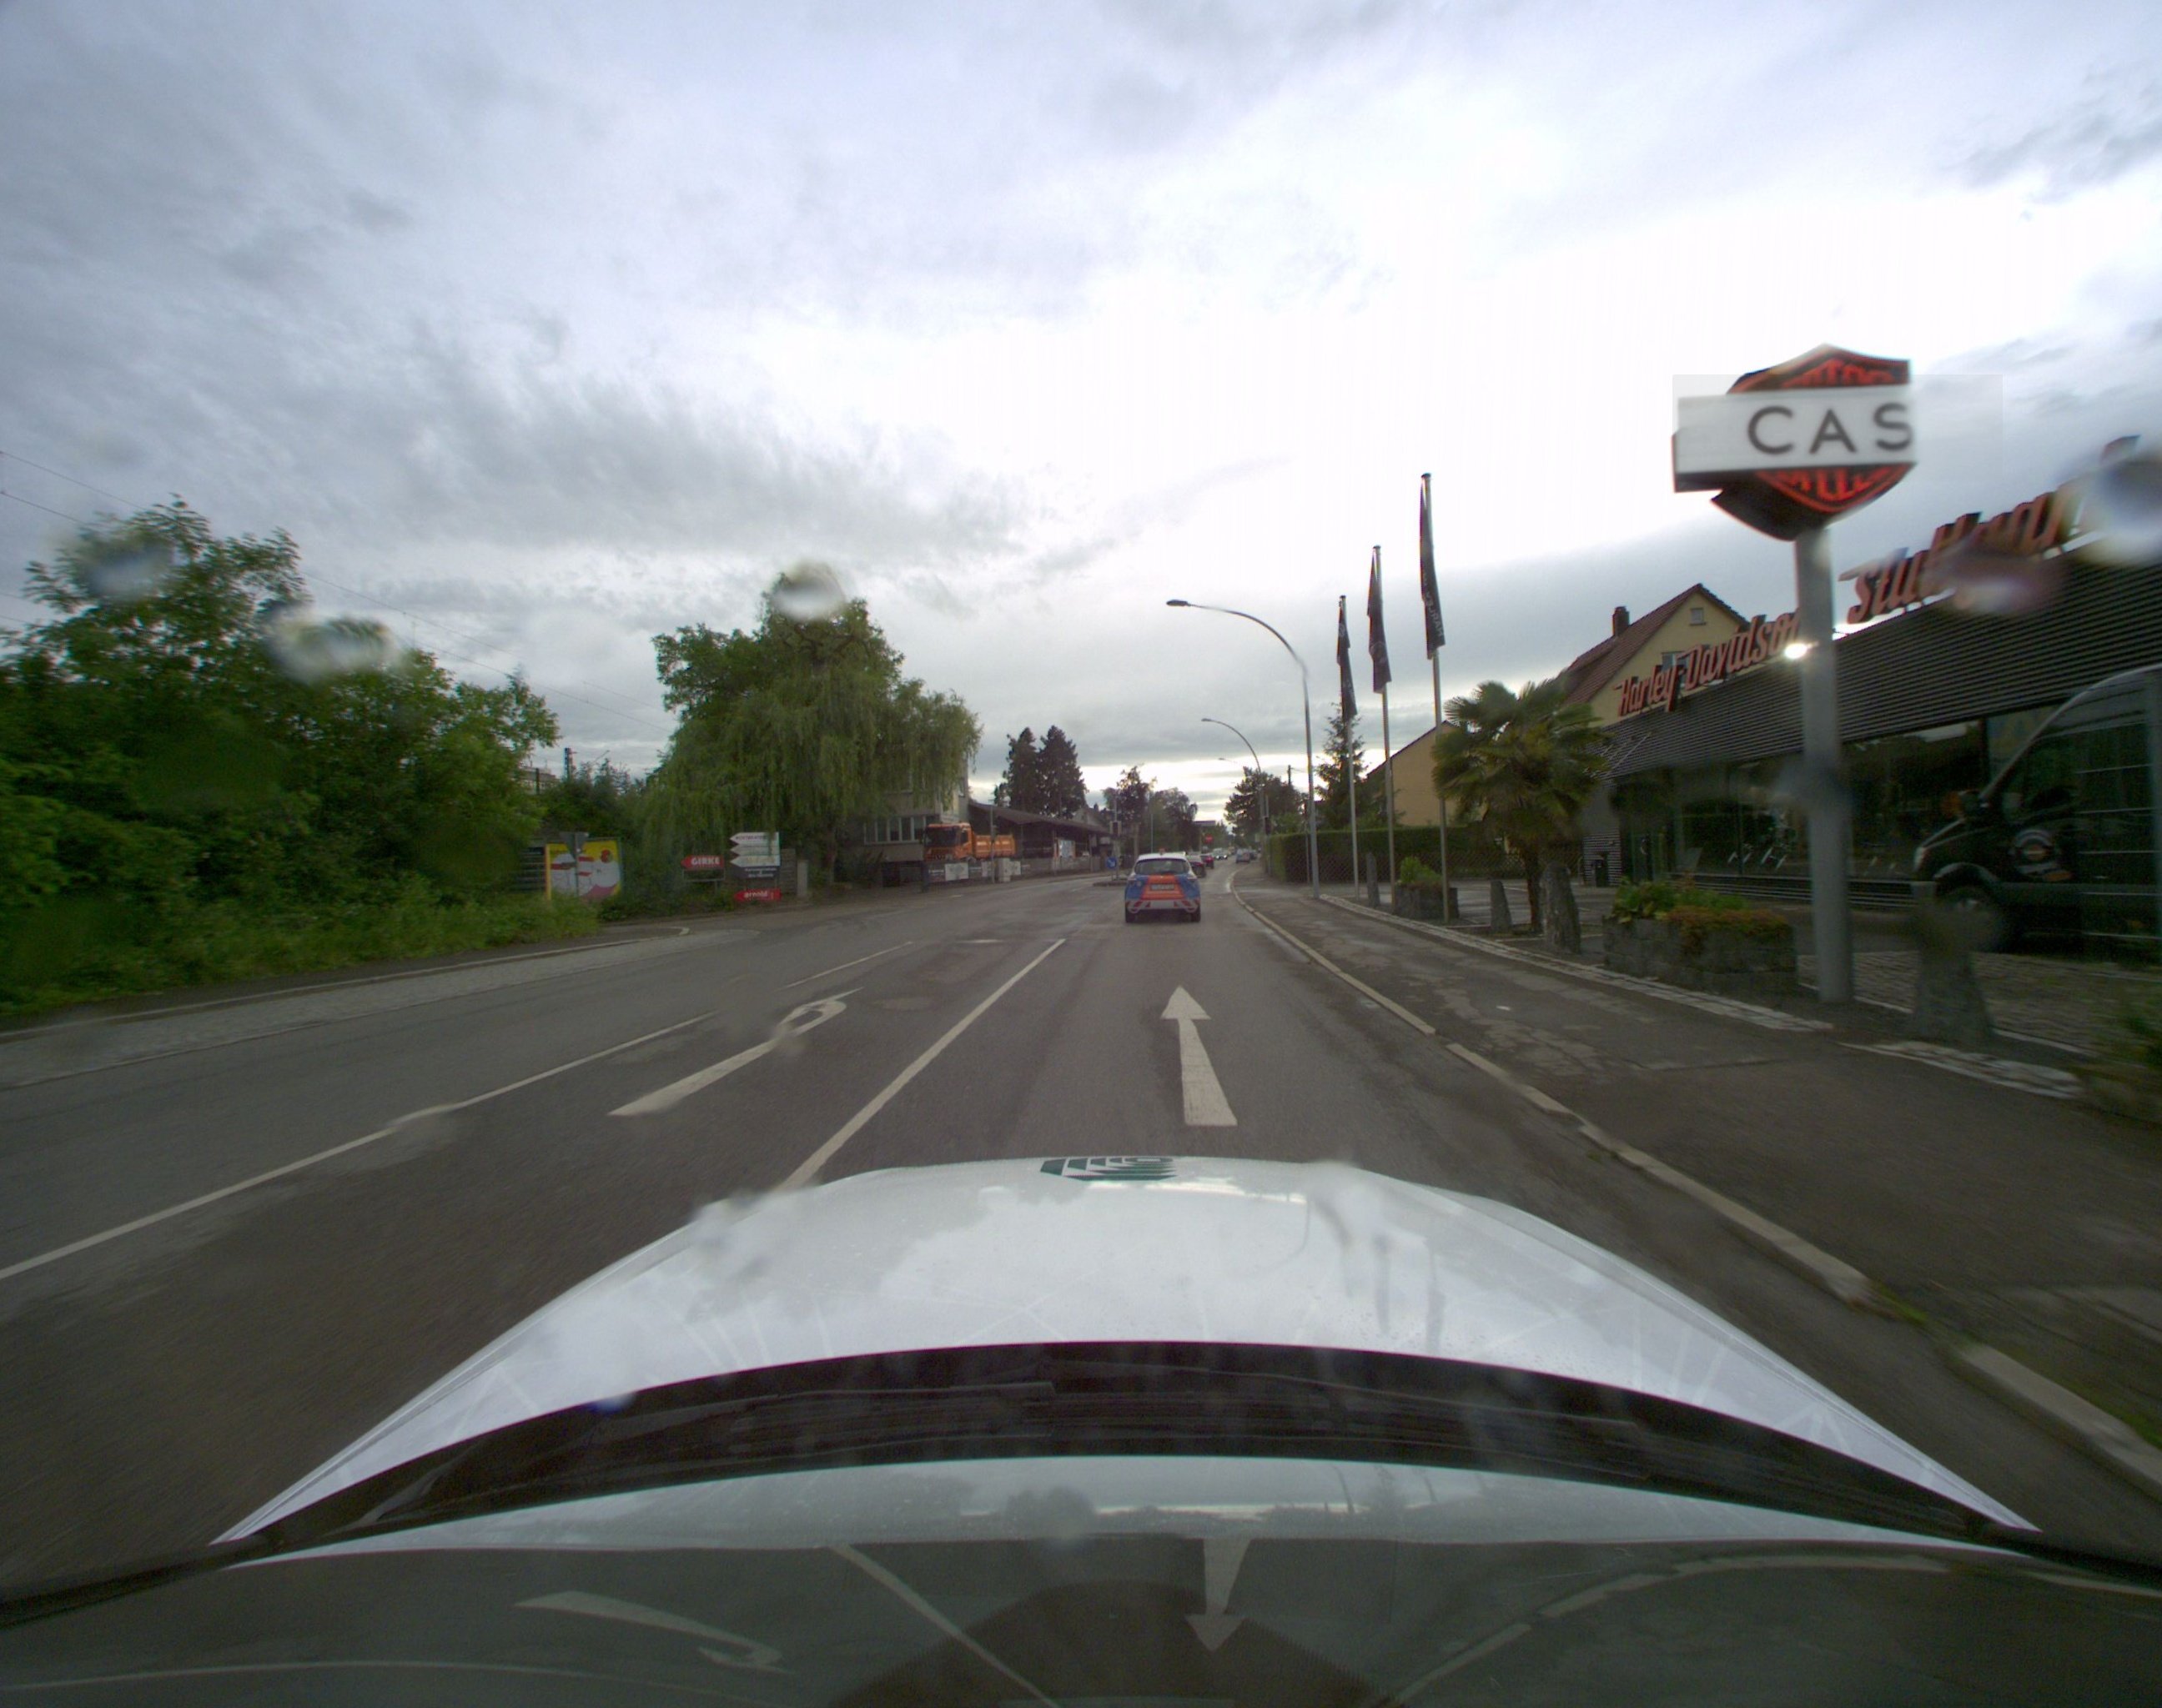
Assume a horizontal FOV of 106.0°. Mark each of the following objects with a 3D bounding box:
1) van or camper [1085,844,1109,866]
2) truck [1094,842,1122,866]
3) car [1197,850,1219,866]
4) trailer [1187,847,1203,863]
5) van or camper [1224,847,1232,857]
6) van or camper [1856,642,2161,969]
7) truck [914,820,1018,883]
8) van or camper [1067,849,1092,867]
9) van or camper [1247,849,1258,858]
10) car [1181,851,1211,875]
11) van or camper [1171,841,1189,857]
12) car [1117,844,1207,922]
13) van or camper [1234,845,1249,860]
[{"bbox_3d":[1.915,0.187,96.333,1.847,2.438,5.249,1,-2,11],"label":"van or camper"},{"bbox_3d":[3.400,0.051,101.890,2.378,2.927,5.977,0,-1,13],"label":"truck"},{"bbox_3d":[12.092,0.366,77.725,1.982,1.420,4.008,0,-2,8],"label":"car"},{"bbox_3d":[19.100,0.093,136.339,2.206,2.012,4.452,-8,3,11],"label":"trailer"},{"bbox_3d":[41.344,-0.624,229.228,1.980,2.775,5.458,-2,0,12],"label":"van or camper"},{"bbox_3d":[9.563,-0.415,6.183,2.028,2.593,6.610,-2,0,11],"label":"van or camper"},{"bbox_3d":[-6.589,0.008,48.629,2.677,3.412,9.107,0,-2,15],"label":"truck"},{"bbox_3d":[-0.154,0.448,89.704,1.981,1.909,4.485,0,0,11],"label":"van or camper"},{"bbox_3d":[35.242,-0.125,167.398,1.980,1.784,4.013,-2,0,12],"label":"van or camper"},{"bbox_3d":[7.119,0.593,50.715,1.712,1.376,3.939,0,-2,6],"label":"car"},{"bbox_3d":[13.393,-0.678,110.298,1.878,2.014,5.113,0,-2,12],"label":"van or camper"},{"bbox_3d":[1.973,0.632,19.779,1.879,1.632,4.007,-3,0,6],"label":"car"},{"bbox_3d":[21.011,-0.215,106.629,1.743,1.883,4.013,-2,0,11],"label":"van or camper"}]
